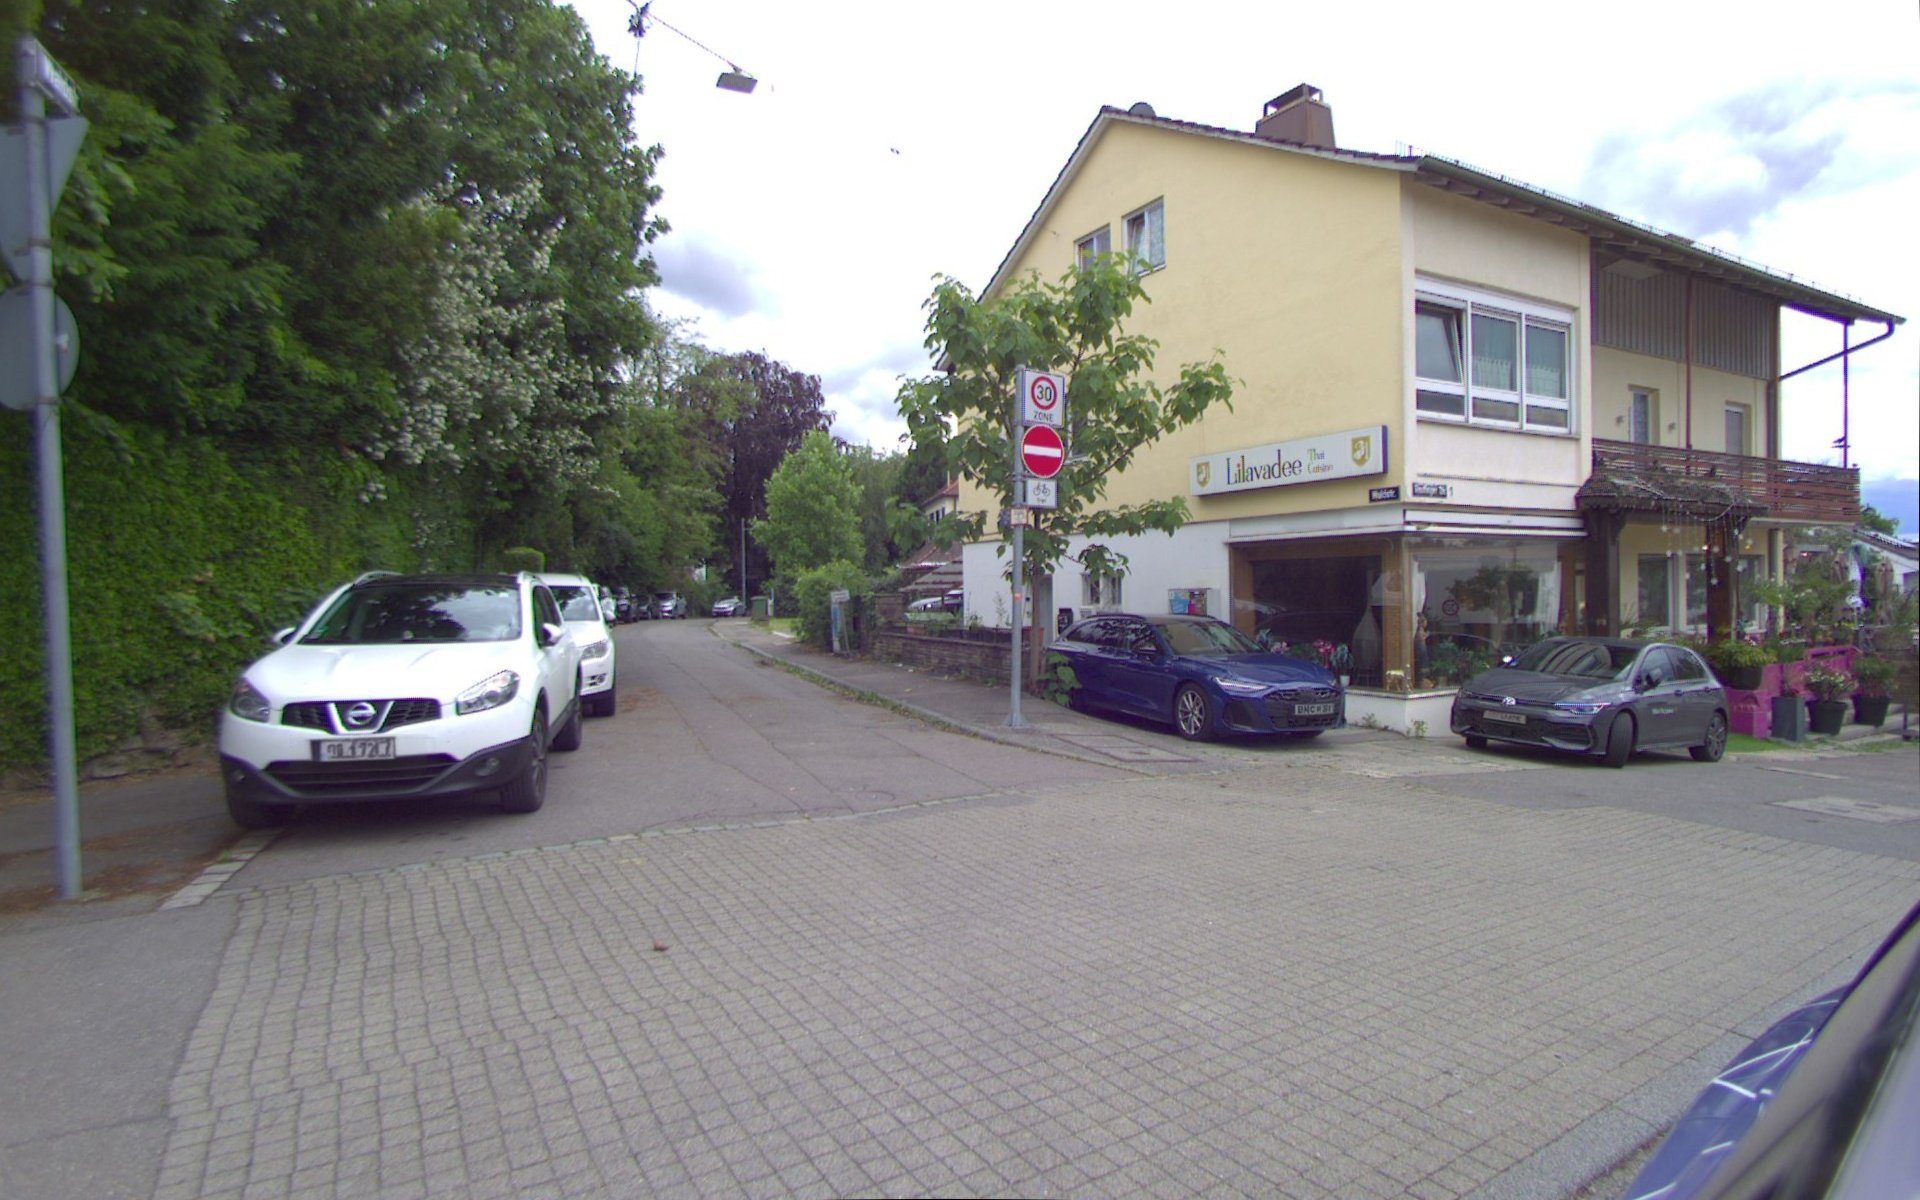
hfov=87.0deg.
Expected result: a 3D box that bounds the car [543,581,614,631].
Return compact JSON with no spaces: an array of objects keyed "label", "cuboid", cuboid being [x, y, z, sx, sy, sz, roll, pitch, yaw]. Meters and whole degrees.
[{"label":"car","cuboid":[-12.224,0.136,32.596,1.542,1.502,3.745,-1,1,-11]}]

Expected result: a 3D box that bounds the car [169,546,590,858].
[{"label":"car","cuboid":[-3.874,0.505,7.559,1.761,1.643,4.144,-1,1,-16]}]

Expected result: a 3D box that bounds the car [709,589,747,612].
[{"label":"car","cuboid":[-16.354,0.026,71.462,1.547,1.502,3.468,0,1,7]}]

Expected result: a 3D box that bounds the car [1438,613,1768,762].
[{"label":"car","cuboid":[7.936,1.061,12.376,4.242,1.480,1.800,5,-2,-34]}]

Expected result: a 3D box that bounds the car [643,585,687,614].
[{"label":"car","cuboid":[-16.247,-0.044,55.799,1.543,1.502,3.476,0,1,-3]}]

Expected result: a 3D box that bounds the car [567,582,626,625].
[{"label":"car","cuboid":[-13.430,0.101,37.550,1.542,1.502,3.481,-1,1,-11]}]

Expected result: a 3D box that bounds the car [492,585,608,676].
[{"label":"car","cuboid":[-7.421,0.465,18.551,1.761,1.441,4.080,-1,1,-20]}]

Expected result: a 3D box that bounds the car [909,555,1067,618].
[{"label":"car","cuboid":[0.832,-0.374,30.010,4.235,1.480,1.802,4,-2,-19]}]

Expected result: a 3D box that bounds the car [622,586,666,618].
[{"label":"car","cuboid":[-15.923,0.072,51.117,1.542,1.502,3.479,-1,1,-8]}]

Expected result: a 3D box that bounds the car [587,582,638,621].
[{"label":"car","cuboid":[-14.214,0.042,41.530,1.542,1.502,3.481,-1,1,-11]}]

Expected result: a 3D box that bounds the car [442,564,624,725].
[{"label":"car","cuboid":[-5.183,0.431,12.614,1.761,1.643,4.080,-1,1,-20]}]

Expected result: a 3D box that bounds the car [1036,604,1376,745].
[{"label":"car","cuboid":[2.908,0.824,13.215,1.761,1.405,4.758,2,0,-23]}]
